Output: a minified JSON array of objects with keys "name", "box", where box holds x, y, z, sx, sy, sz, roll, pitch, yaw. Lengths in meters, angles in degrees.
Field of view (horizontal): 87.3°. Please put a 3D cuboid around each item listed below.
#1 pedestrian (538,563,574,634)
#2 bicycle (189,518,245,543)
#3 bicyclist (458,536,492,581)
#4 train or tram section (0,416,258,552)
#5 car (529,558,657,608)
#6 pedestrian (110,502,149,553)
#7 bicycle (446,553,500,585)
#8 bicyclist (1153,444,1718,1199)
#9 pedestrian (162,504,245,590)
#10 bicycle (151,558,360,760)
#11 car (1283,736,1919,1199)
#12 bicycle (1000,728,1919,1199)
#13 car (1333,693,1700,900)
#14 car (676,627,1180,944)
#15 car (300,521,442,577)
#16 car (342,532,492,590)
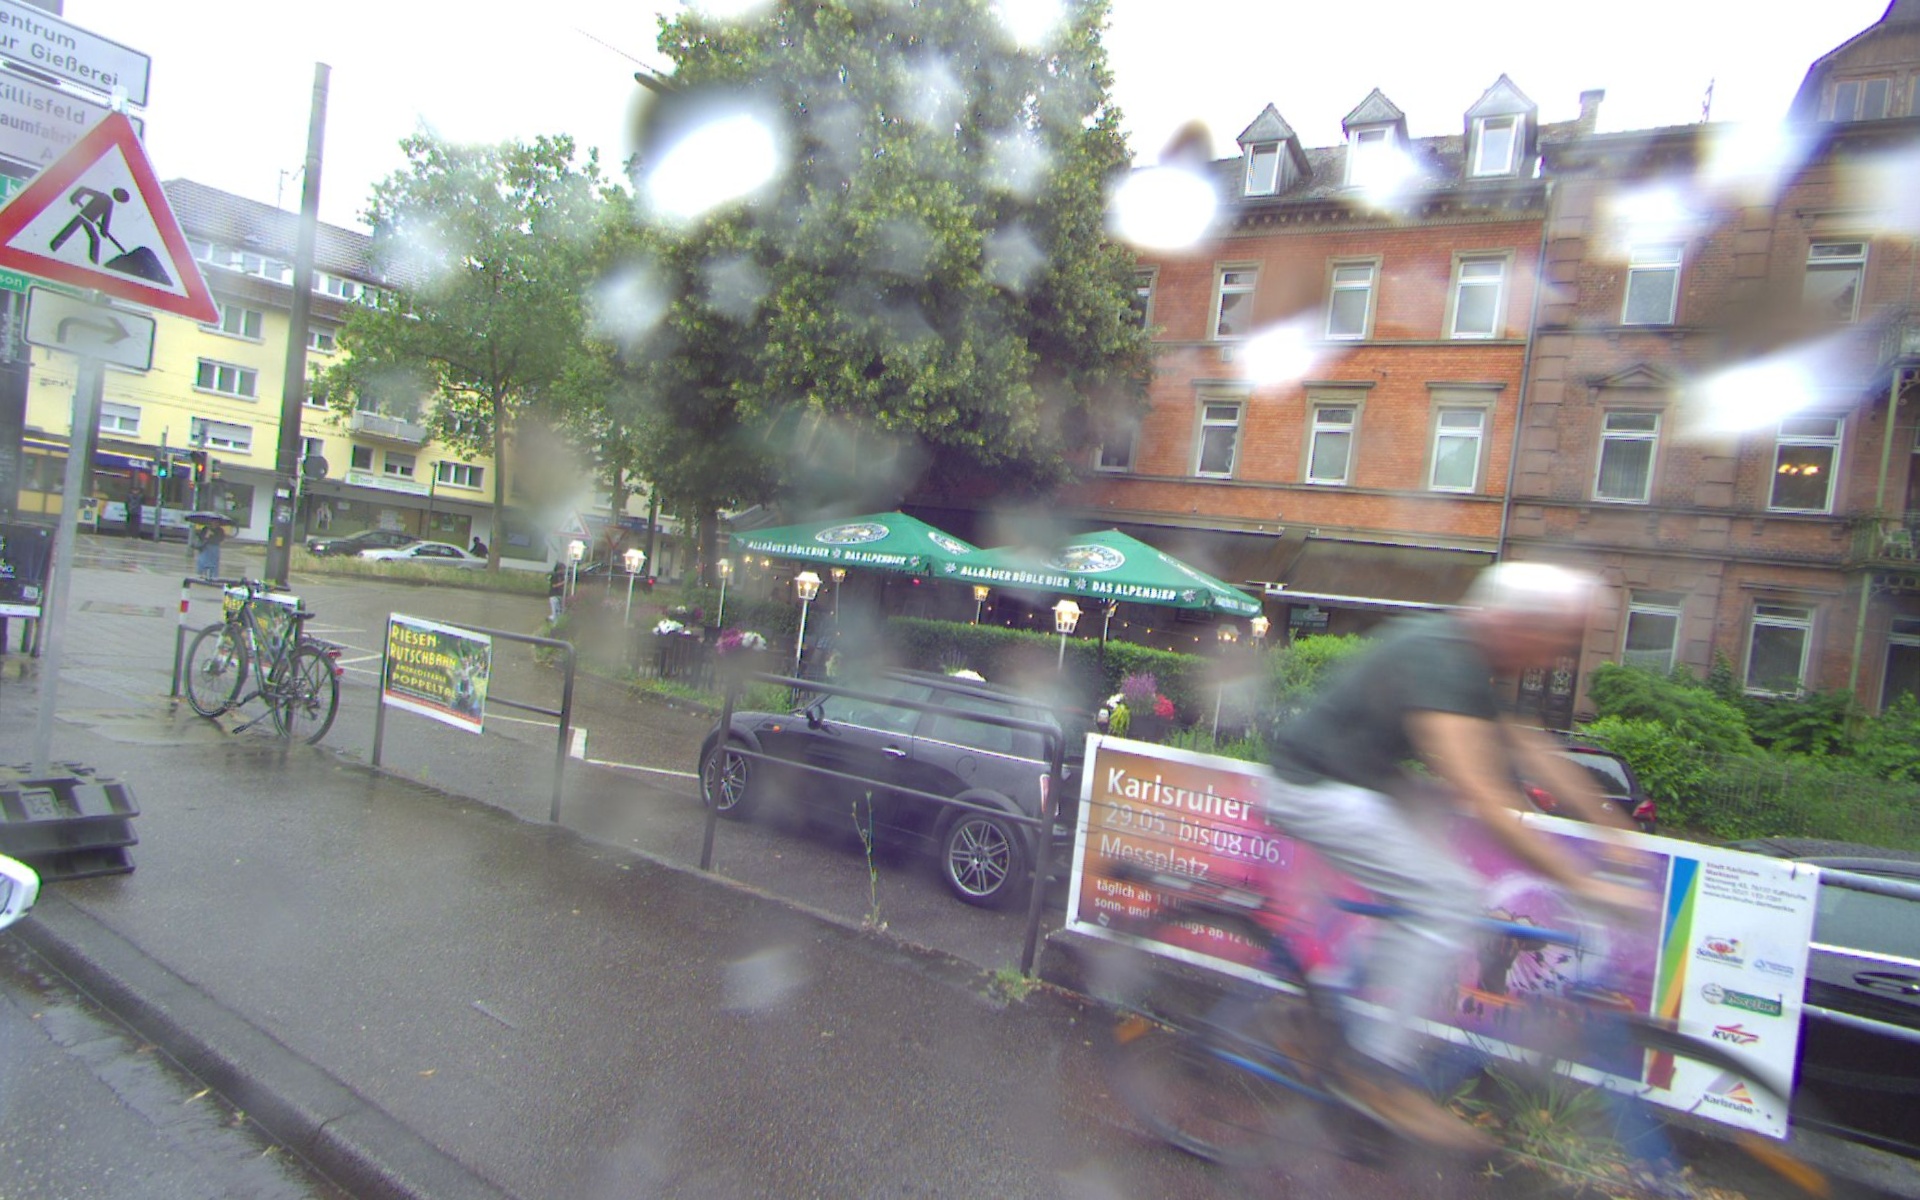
[{"name":"pedestrian","box":[-9.693,-0.031,24.123,0.382,1.667,0.549,8,3,33]},{"name":"bicycle","box":[-35.420,-3.316,47.970,2.034,0.908,0.606,7,0,-44]},{"name":"bicyclist","box":[-20.229,-1.723,41.978,0.704,1.737,0.886,8,0,42]},{"name":"train or tram section","box":[-32.704,-4.372,34.449,3.059,3.601,14.675,8,0,22]},{"name":"car","box":[-15.390,-0.697,42.369,4.612,1.504,1.838,7,1,-45]},{"name":"pedestrian","box":[-29.610,-2.577,35.865,0.806,1.698,1.008,7,1,-32]},{"name":"bicycle","box":[-20.304,-1.274,41.951,0.710,1.044,1.808,8,-1,42]},{"name":"bicyclist","box":[1.097,0.553,2.437,0.862,1.677,0.737,8,2,27]},{"name":"pedestrian","box":[-16.537,-1.148,22.035,1.092,1.687,0.991,8,0,-25]},{"name":"bicycle","box":[-5.172,0.397,7.345,1.762,1.182,0.423,8,-1,30]},{"name":"car","box":[4.005,1.827,4.986,4.146,1.481,1.749,8,0,32]},{"name":"bicycle","box":[1.137,1.030,2.396,1.833,1.086,0.739,8,2,27]},{"name":"car","box":[6.411,2.191,12.229,1.828,1.526,3.997,8,-1,-5]},{"name":"car","box":[-0.322,1.251,7.839,3.459,1.518,1.649,8,-1,34]},{"name":"car","box":[-22.592,-1.941,38.710,1.853,1.520,4.264,8,1,40]},{"name":"car","box":[-19.943,-1.406,37.098,1.717,1.508,4.474,9,1,45]}]
